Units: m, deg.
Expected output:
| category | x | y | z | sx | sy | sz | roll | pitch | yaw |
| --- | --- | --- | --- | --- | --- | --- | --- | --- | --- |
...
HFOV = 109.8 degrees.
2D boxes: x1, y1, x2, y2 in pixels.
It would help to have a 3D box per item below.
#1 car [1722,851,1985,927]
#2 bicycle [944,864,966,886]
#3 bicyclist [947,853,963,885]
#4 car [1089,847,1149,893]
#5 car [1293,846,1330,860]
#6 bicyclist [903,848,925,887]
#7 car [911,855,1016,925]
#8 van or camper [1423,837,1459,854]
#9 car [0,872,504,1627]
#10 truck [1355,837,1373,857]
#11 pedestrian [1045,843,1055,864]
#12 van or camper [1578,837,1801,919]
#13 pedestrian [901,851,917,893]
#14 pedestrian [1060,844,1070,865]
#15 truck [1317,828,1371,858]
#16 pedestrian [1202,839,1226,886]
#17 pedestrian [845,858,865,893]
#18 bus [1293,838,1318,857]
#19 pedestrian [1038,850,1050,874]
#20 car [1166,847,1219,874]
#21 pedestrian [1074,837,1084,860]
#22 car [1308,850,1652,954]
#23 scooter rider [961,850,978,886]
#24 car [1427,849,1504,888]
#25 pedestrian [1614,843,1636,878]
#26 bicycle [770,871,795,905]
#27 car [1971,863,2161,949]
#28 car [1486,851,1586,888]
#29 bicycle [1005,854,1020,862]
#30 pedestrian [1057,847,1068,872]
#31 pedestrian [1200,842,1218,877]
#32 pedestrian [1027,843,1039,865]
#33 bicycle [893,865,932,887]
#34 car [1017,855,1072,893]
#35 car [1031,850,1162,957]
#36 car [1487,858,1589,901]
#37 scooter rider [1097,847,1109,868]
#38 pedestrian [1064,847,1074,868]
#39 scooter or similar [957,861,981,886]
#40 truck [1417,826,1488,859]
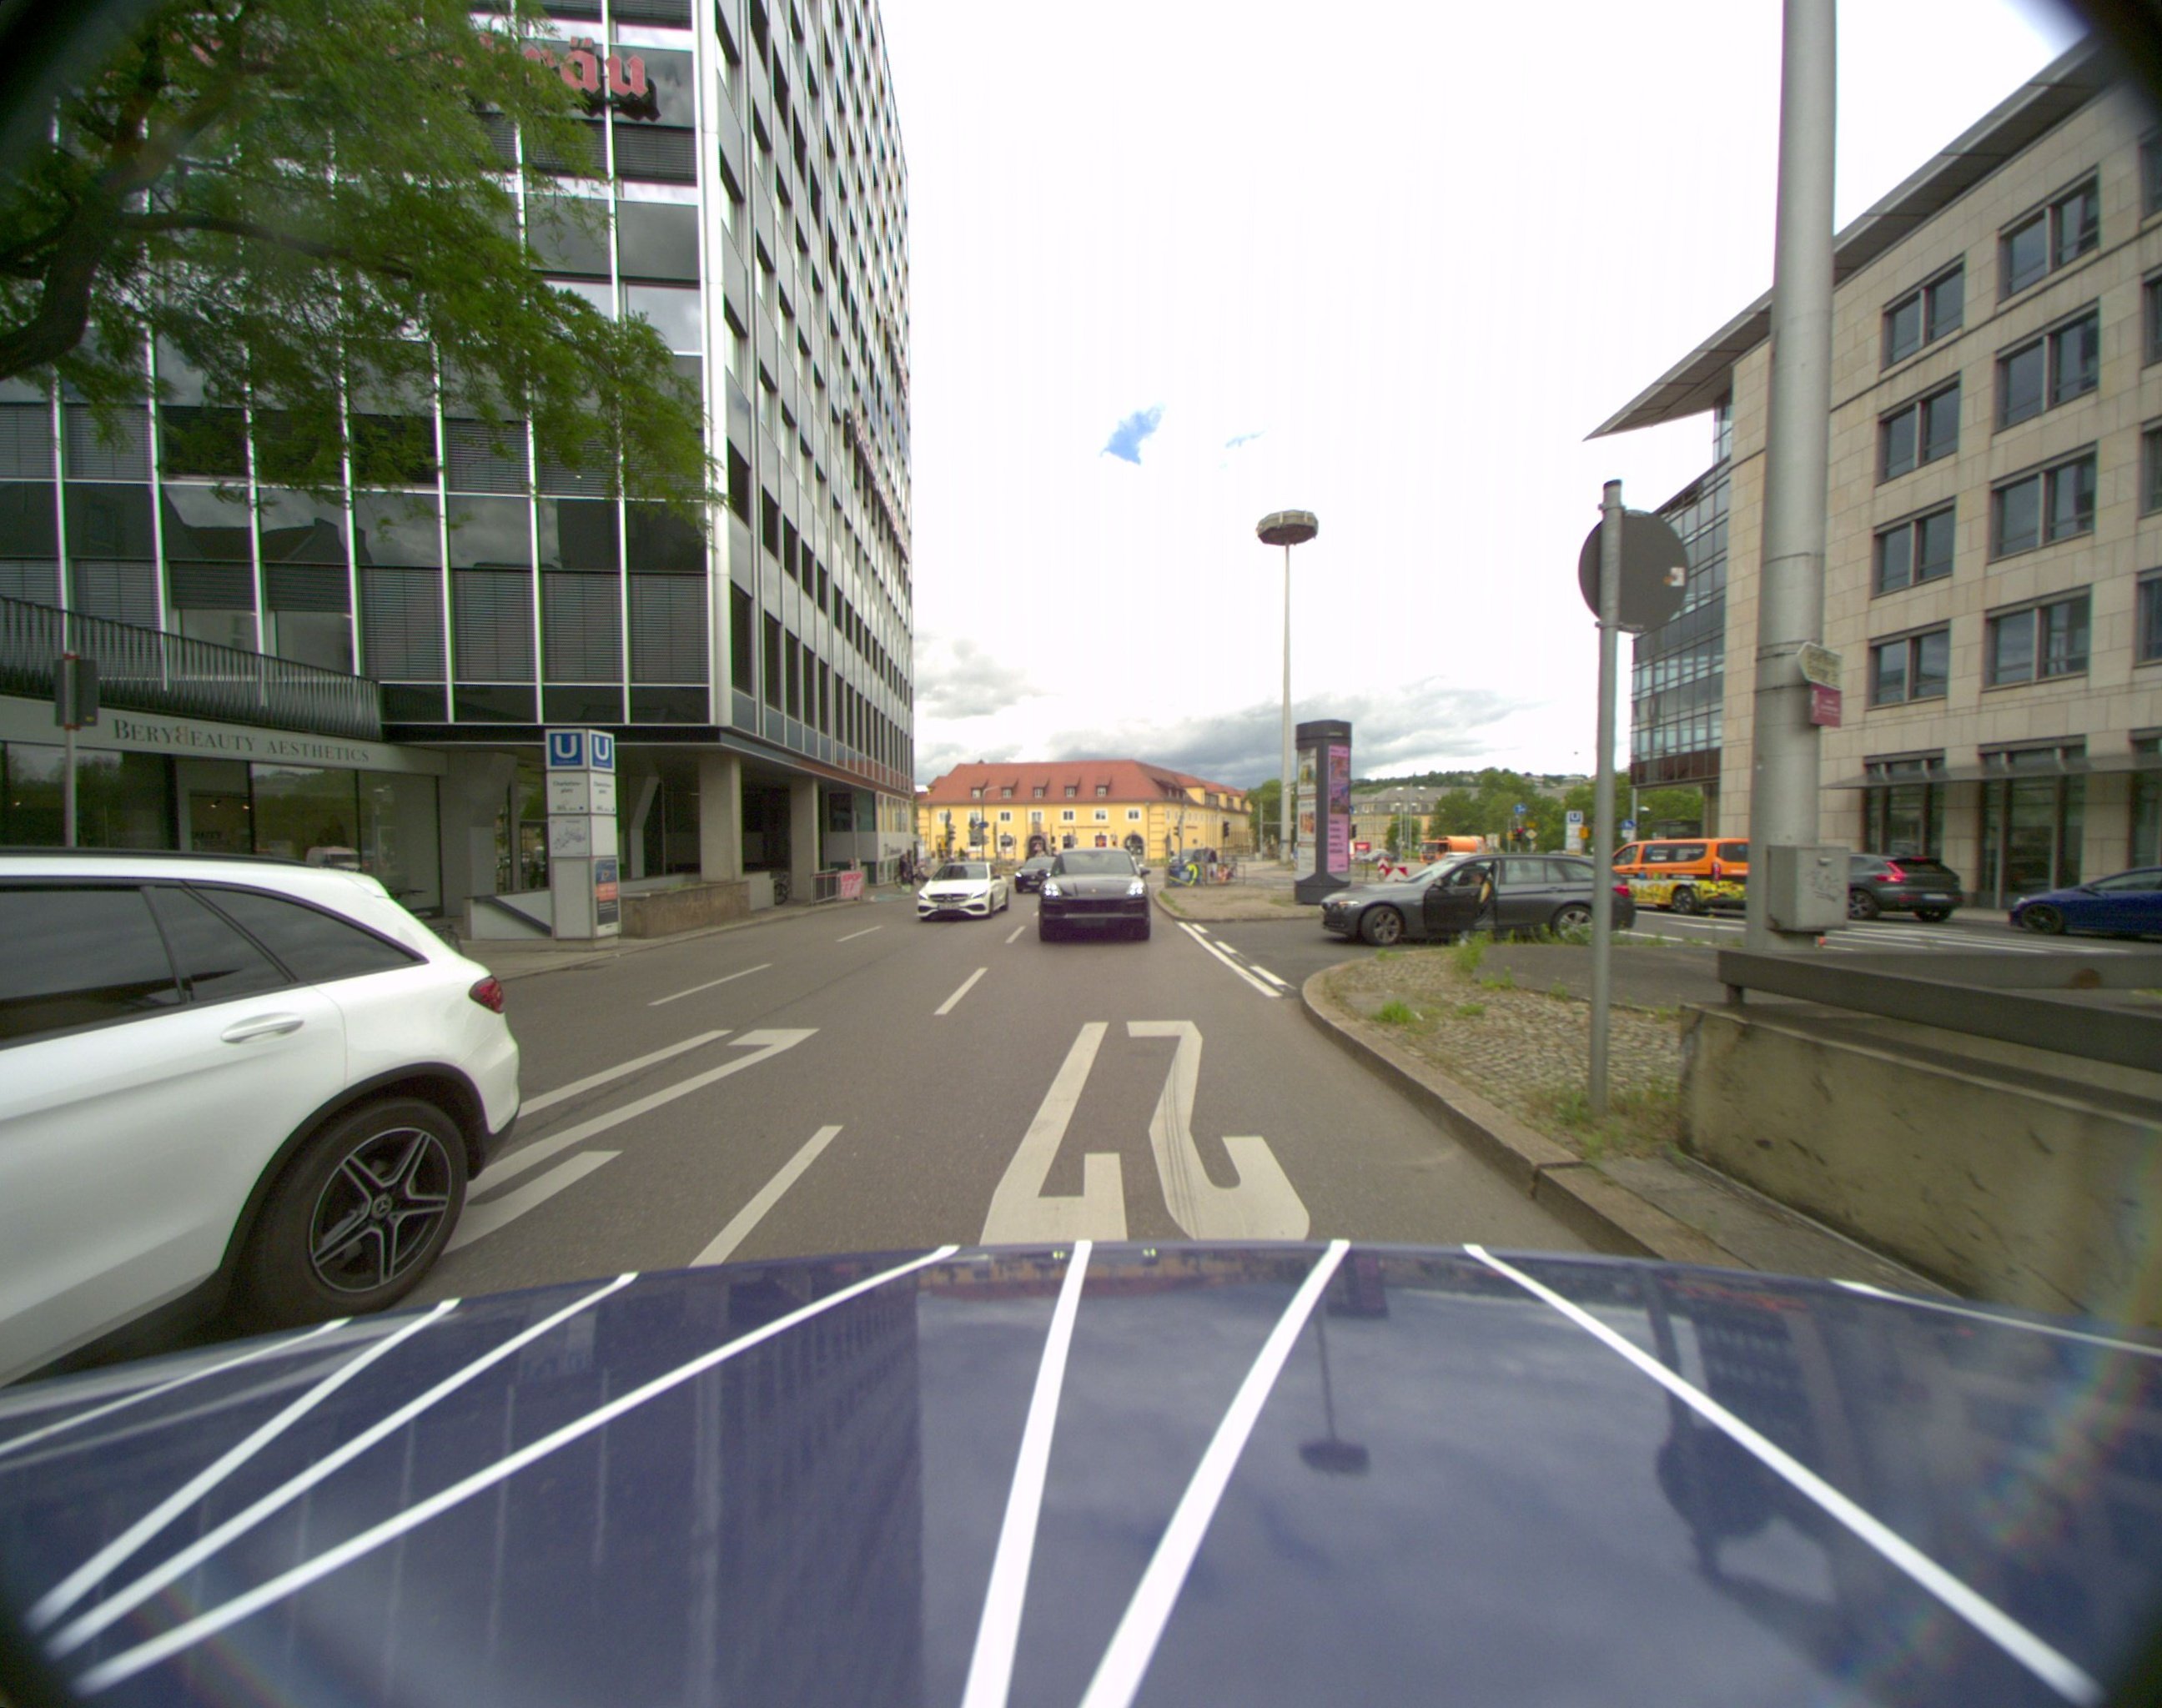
| category | x | y | z | sx | sy | sz | roll | pitch | yaw |
| --- | --- | --- | --- | --- | --- | --- | --- | --- | --- |
| car | 19.478 | 0.786 | 19.556 | 1.998 | 1.636 | 4.683 | 1 | 1 | 1 |
| bicycle | -6.308 | 1.027 | 37.967 | 0.582 | 1.021 | 1.665 | 0 | 2 | -28 |
| bicyclist | -6.284 | 0.742 | 37.918 | 0.566 | 1.541 | 0.844 | 0 | 2 | -28 |
| car | 1.711 | 0.741 | 32.666 | 2.094 | 1.598 | 4.419 | -3 | -5 | 8 |
| car | 25.484 | -0.093 | 84.105 | 3.803 | 1.567 | 2.002 | 0 | 1 | 12 |
| bicyclist | -7.946 | 0.644 | 36.161 | 0.812 | 1.835 | 0.676 | 1 | 2 | 27 |
| car | -2.928 | 0.841 | 19.952 | 1.870 | 1.560 | 4.652 | 0 | 0 | 2 |
| van or camper | 53.428 | -1.202 | 112.719 | 6.173 | 2.463 | 2.141 | 0 | 2 | -38 |
| car | -3.356 | 0.934 | 1.029 | 1.806 | 1.637 | 4.333 | 1 | 1 | 1 |
| truck | 50.533 | -1.178 | 135.612 | 2.785 | 3.470 | 8.363 | 1 | 1 | 22 |
| pedestrian | -2.592 | -0.064 | 62.837 | 0.611 | 1.686 | 0.641 | -1 | 1 | -22 |
| van or camper | 15.962 | 0.540 | 20.416 | 1.917 | 1.910 | 5.083 | 1 | 1 | 1 |
| pedestrian | -7.254 | 0.748 | 32.042 | 0.526 | 1.702 | 0.752 | 1 | 3 | -4 |
| pedestrian | -1.293 | 0.019 | 62.009 | 0.611 | 1.686 | 0.641 | -1 | 1 | -22 |
| truck | 24.925 | -1.010 | 71.891 | 5.800 | 2.768 | 1.951 | 0 | 1 | -38 |
| pedestrian | 6.192 | 0.401 | 35.390 | 0.879 | 2.160 | 0.761 | 0 | 1 | -17 |
| pedestrian | -9.479 | 0.881 | 31.881 | 0.606 | 1.434 | 0.838 | 1 | 1 | -3 |
| bus | 39.750 | -1.102 | 134.159 | 3.427 | 3.185 | 13.082 | 0 | 1 | 20 |
| pedestrian | -2.897 | 0.583 | 59.378 | 0.670 | 1.852 | 0.701 | -1 | 1 | -20 |
| car | 9.012 | 0.499 | 61.267 | 1.855 | 1.977 | 4.651 | 3 | 3 | 43 |
| pedestrian | -0.172 | -0.490 | 64.643 | 0.611 | 1.944 | 0.642 | -1 | 1 | -19 |
| car | 6.172 | 0.732 | 12.305 | 4.559 | 1.450 | 1.882 | -2 | 1 | 9 |
| scooter rider | -5.729 | 0.699 | 39.042 | 0.594 | 1.798 | 0.641 | -1 | 2 | -40 |
| car | 16.957 | 0.577 | 33.730 | 1.737 | 1.589 | 4.321 | 0 | 1 | 8 |
| pedestrian | 26.033 | 0.298 | 36.387 | 0.653 | 1.605 | 0.967 | 0 | 4 | 24 |
| bicycle | -9.761 | 1.103 | 24.889 | 0.715 | 1.042 | 1.484 | -1 | 1 | -20 |
| car | 19.466 | 0.908 | 13.509 | 1.998 | 1.387 | 4.573 | 0 | 1 | 2 |
| car | 19.627 | 0.624 | 33.004 | 1.998 | 1.516 | 4.091 | 0 | 1 | 2 |
| bicycle | -8.797 | 0.519 | 97.809 | 1.769 | 1.079 | 0.622 | 0 | 1 | 11 |
| pedestrian | -1.486 | 0.425 | 60.482 | 0.611 | 1.953 | 0.641 | -1 | 1 | -22 |
| pedestrian | 6.671 | 0.304 | 39.575 | 0.717 | 1.780 | 0.634 | 3 | 0 | 1 |
| pedestrian | -3.692 | -0.033 | 58.143 | 0.802 | 1.688 | 0.547 | 0 | 1 | -17 |
| bicycle | -8.023 | 1.055 | 36.226 | 1.763 | 1.001 | 0.682 | 1 | -1 | 26 |
| car | -1.556 | 0.832 | 33.552 | 1.706 | 1.524 | 3.766 | 0 | 0 | 9 |
| car | 0.371 | 0.751 | 14.230 | 2.004 | 1.629 | 5.021 | -1 | 0 | 3 |
| car | 16.323 | 0.865 | 27.320 | 1.560 | 1.371 | 3.633 | 1 | 1 | 2 |
| scooter rider | 1.776 | 0.279 | 62.274 | 0.767 | 1.684 | 0.745 | -1 | 1 | -15 |
| pedestrian | -1.004 | 0.286 | 63.348 | 0.611 | 1.786 | 0.641 | -1 | 1 | -22 |
| scooter or similar | -5.783 | 0.993 | 39.115 | 0.594 | 1.169 | 1.319 | -1 | 2 | -40 |
| truck | 42.559 | -1.213 | 86.932 | 9.194 | 3.594 | 2.722 | 0 | -1 | -30 |
